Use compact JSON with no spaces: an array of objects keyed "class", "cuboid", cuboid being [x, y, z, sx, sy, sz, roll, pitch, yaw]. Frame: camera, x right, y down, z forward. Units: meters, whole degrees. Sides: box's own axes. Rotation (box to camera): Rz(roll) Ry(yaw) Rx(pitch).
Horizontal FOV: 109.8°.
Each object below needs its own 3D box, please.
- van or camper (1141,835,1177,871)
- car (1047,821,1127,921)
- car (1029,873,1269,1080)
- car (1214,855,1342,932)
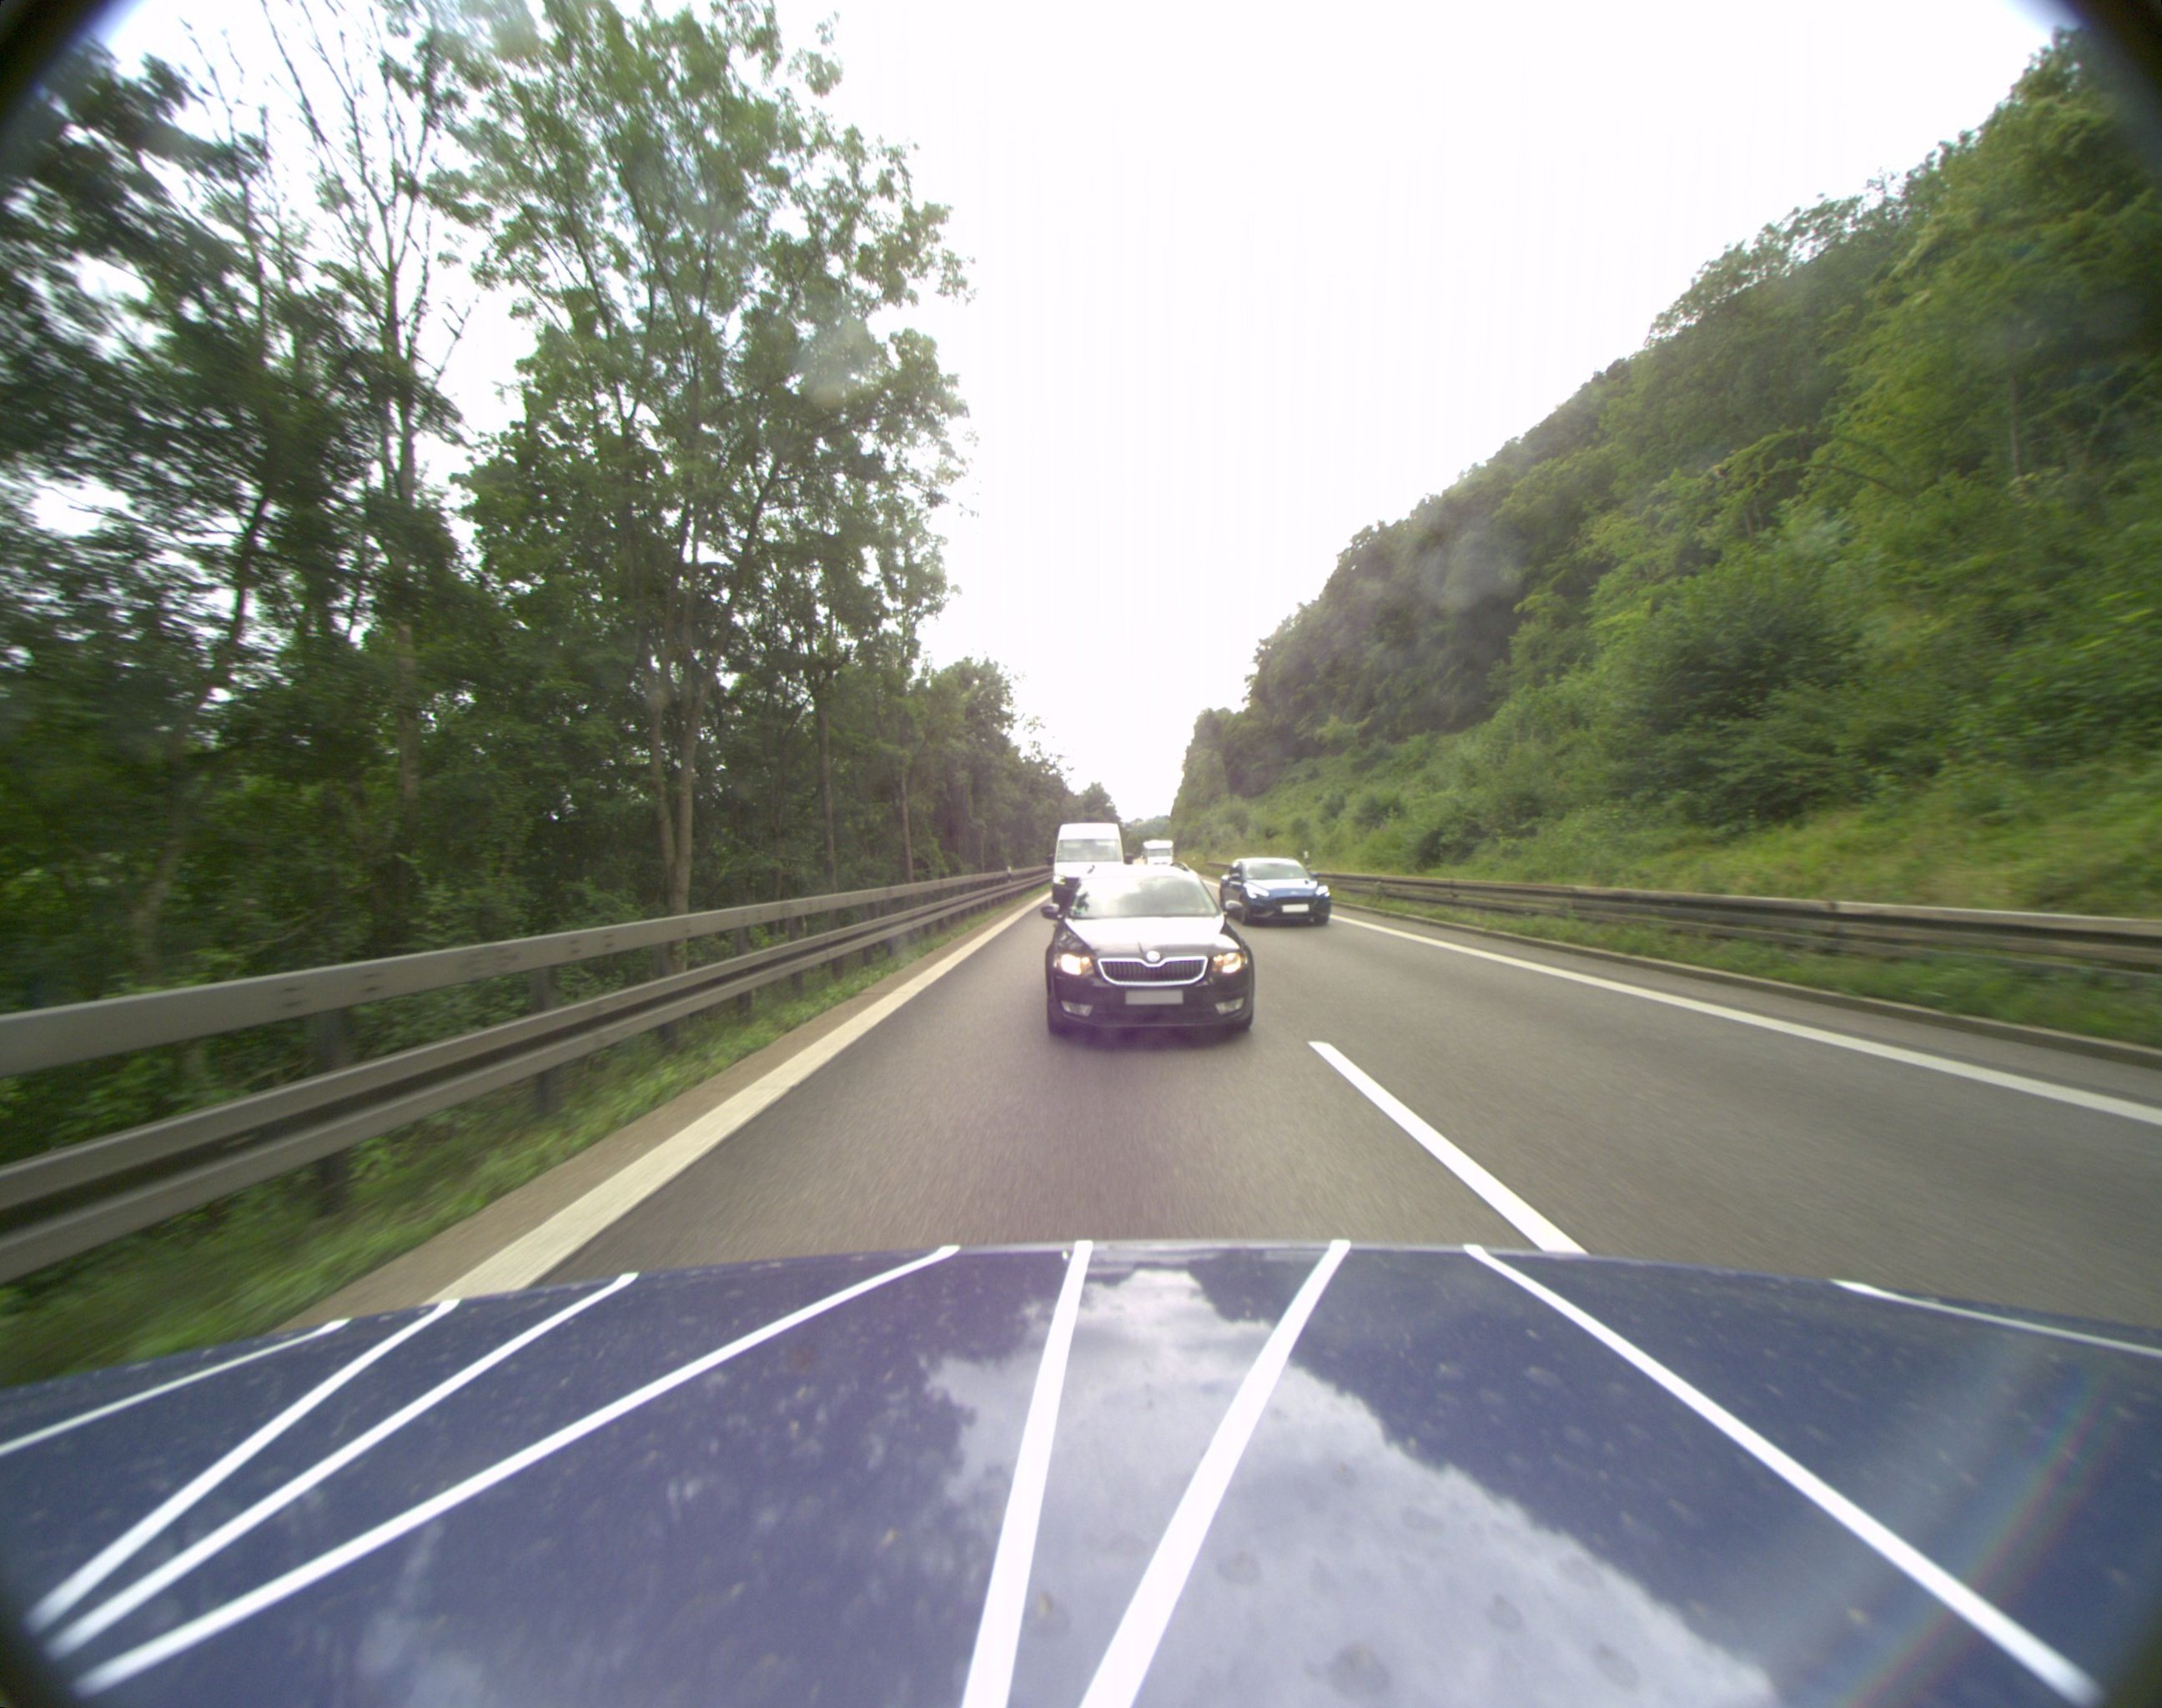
[{"class":"van or camper","cuboid":[6.254,-0.066,61.695,2.270,2.719,7.024,-1,0,1]},{"class":"car","cuboid":[0.247,0.430,22.230,2.000,2.545,5.128,-1,0,2]},{"class":"car","cuboid":[0.491,0.968,7.852,1.751,1.409,4.401,-1,0,0]},{"class":"car","cuboid":[4.311,0.779,17.378,1.840,1.460,4.555,-1,0,2]}]
